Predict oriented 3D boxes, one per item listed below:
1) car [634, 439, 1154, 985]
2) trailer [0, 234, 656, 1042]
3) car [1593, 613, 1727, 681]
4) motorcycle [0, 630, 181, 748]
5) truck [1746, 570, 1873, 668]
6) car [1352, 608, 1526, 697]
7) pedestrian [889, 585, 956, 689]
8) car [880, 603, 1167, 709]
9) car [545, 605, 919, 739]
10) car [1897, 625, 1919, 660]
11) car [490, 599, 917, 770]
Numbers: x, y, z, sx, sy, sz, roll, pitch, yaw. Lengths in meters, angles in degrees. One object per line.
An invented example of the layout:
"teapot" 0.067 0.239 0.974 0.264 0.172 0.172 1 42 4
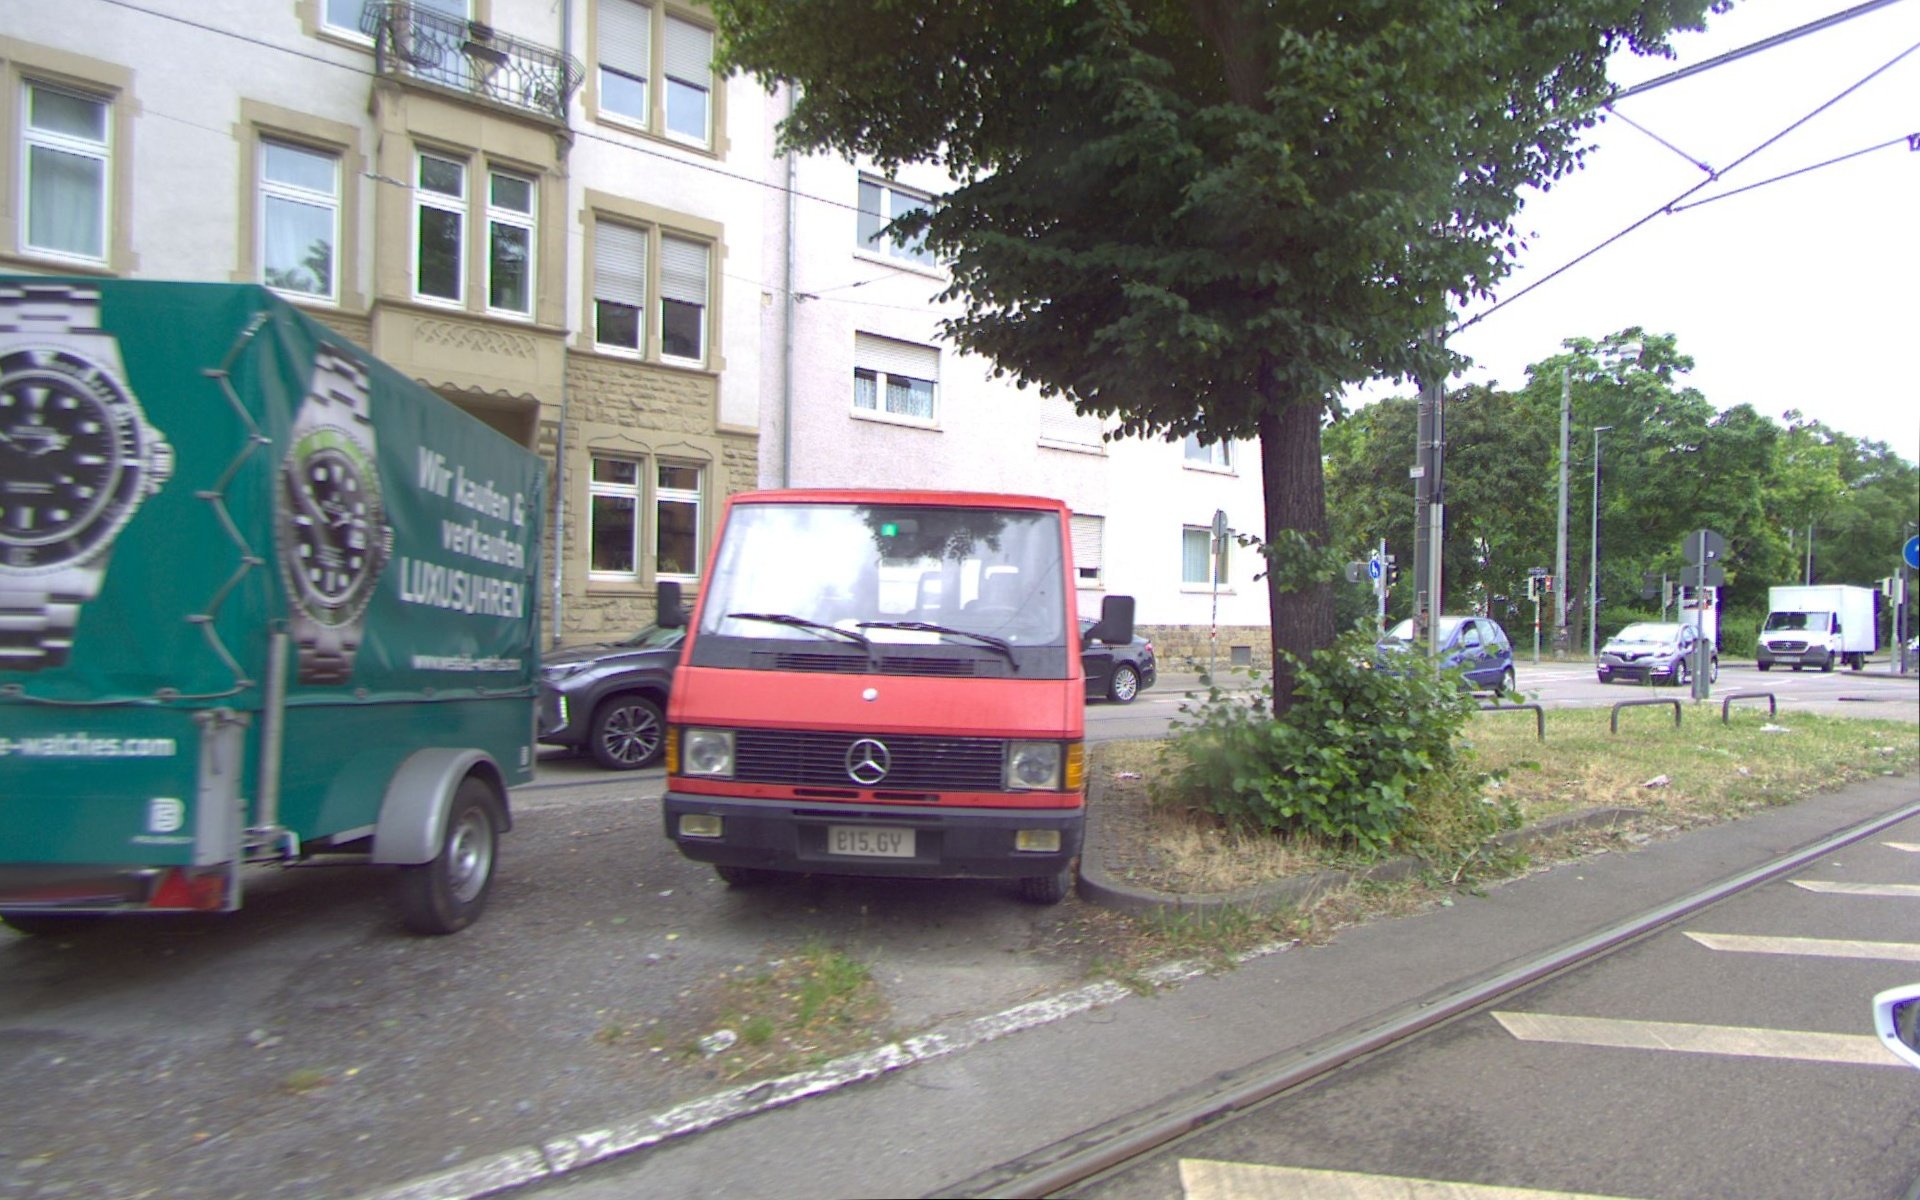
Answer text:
"car" -0.138 0.428 6.140 1.920 2.000 4.769 1 0 3
"trailer" -2.907 0.125 4.789 1.893 2.375 3.670 1 0 -3
"car" 17.878 1.171 25.585 4.094 1.555 1.632 2 -1 -38
"motorcycle" -8.833 0.820 9.484 2.195 1.052 0.708 2 0 -19
"truck" 30.577 0.717 36.054 7.270 3.199 2.167 2 -1 -39
"car" 9.315 0.980 19.450 3.599 1.555 1.631 2 -1 -39
"pedestrian" -0.667 0.652 17.959 0.892 1.790 0.792 1 -1 -37
"car" 1.140 0.832 16.181 4.719 1.462 1.622 1 0 -38
"car" -2.850 0.846 13.174 4.529 1.462 1.622 1 0 -38
"car" 47.416 2.090 49.017 4.497 1.661 1.757 2 -1 -38
"car" -2.482 0.751 10.135 3.847 1.401 1.632 2 -1 -37
